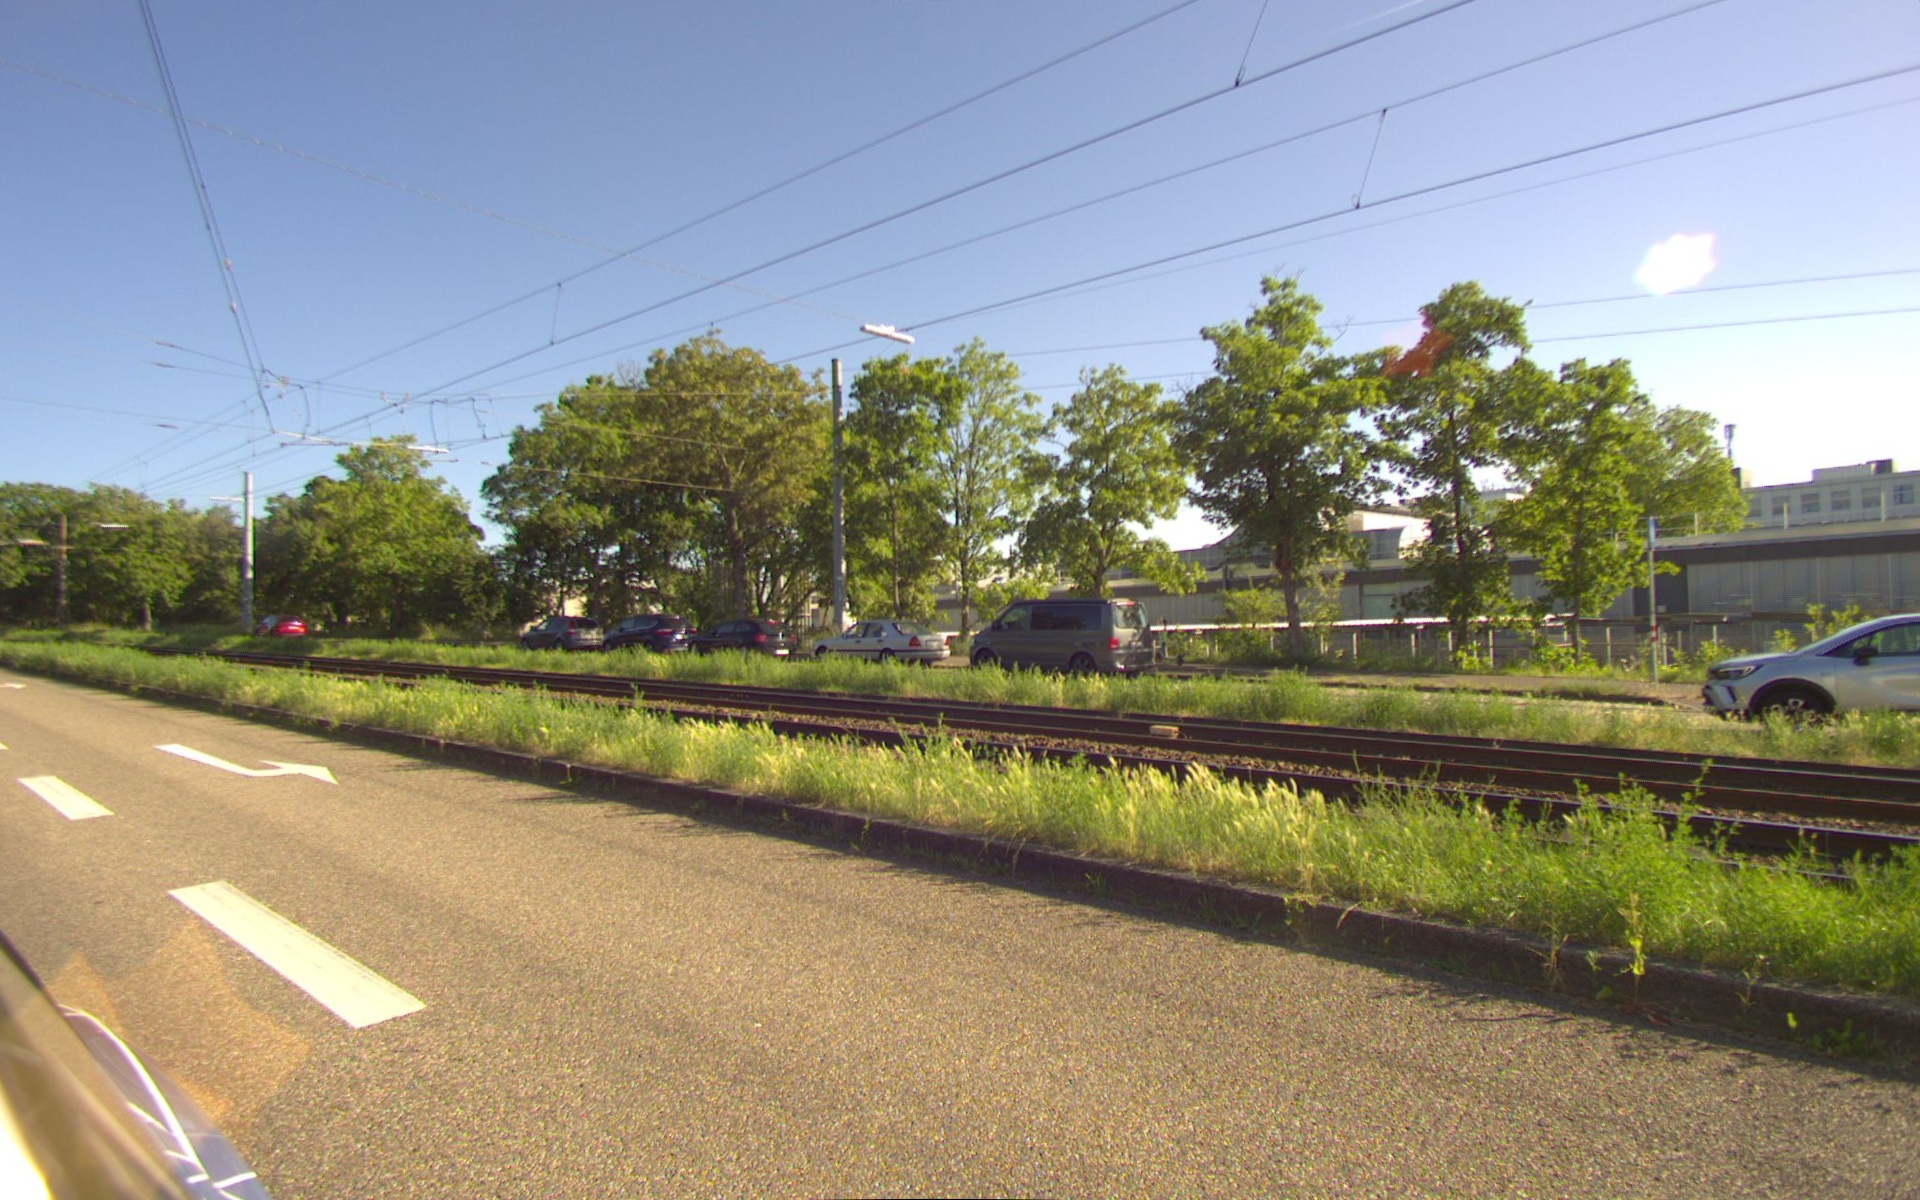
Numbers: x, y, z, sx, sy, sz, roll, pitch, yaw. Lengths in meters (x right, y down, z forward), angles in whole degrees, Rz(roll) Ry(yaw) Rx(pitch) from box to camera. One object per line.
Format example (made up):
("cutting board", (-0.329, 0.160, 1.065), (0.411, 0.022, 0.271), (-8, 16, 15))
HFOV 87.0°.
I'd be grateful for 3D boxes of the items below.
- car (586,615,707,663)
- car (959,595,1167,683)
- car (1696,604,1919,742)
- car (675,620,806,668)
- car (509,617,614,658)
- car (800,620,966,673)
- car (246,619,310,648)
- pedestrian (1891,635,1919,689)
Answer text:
("car", (-11.448, 1.390, 36.798), (4.614, 1.599, 2.102), (-2, -1, 41))
("car", (2.451, 0.931, 24.806), (4.684, 1.949, 2.178), (-2, -1, 42))
("car", (11.556, 0.844, 12.302), (4.148, 1.569, 1.839), (-2, -1, 36))
("car", (-7.253, 1.424, 33.246), (4.486, 1.437, 1.935), (-2, -1, 42))
("car", (-16.278, 1.521, 41.274), (4.557, 1.575, 2.103), (-2, -1, 41))
("car", (-2.276, 1.311, 29.239), (4.612, 1.391, 2.103), (-2, -1, 40))
("car", (-42.473, 2.081, 63.000), (4.797, 1.746, 2.290), (-2, -1, 43))
("pedestrian", (23.488, 1.538, 25.041), (0.435, 1.310, 0.441), (-1, -2, -1))
